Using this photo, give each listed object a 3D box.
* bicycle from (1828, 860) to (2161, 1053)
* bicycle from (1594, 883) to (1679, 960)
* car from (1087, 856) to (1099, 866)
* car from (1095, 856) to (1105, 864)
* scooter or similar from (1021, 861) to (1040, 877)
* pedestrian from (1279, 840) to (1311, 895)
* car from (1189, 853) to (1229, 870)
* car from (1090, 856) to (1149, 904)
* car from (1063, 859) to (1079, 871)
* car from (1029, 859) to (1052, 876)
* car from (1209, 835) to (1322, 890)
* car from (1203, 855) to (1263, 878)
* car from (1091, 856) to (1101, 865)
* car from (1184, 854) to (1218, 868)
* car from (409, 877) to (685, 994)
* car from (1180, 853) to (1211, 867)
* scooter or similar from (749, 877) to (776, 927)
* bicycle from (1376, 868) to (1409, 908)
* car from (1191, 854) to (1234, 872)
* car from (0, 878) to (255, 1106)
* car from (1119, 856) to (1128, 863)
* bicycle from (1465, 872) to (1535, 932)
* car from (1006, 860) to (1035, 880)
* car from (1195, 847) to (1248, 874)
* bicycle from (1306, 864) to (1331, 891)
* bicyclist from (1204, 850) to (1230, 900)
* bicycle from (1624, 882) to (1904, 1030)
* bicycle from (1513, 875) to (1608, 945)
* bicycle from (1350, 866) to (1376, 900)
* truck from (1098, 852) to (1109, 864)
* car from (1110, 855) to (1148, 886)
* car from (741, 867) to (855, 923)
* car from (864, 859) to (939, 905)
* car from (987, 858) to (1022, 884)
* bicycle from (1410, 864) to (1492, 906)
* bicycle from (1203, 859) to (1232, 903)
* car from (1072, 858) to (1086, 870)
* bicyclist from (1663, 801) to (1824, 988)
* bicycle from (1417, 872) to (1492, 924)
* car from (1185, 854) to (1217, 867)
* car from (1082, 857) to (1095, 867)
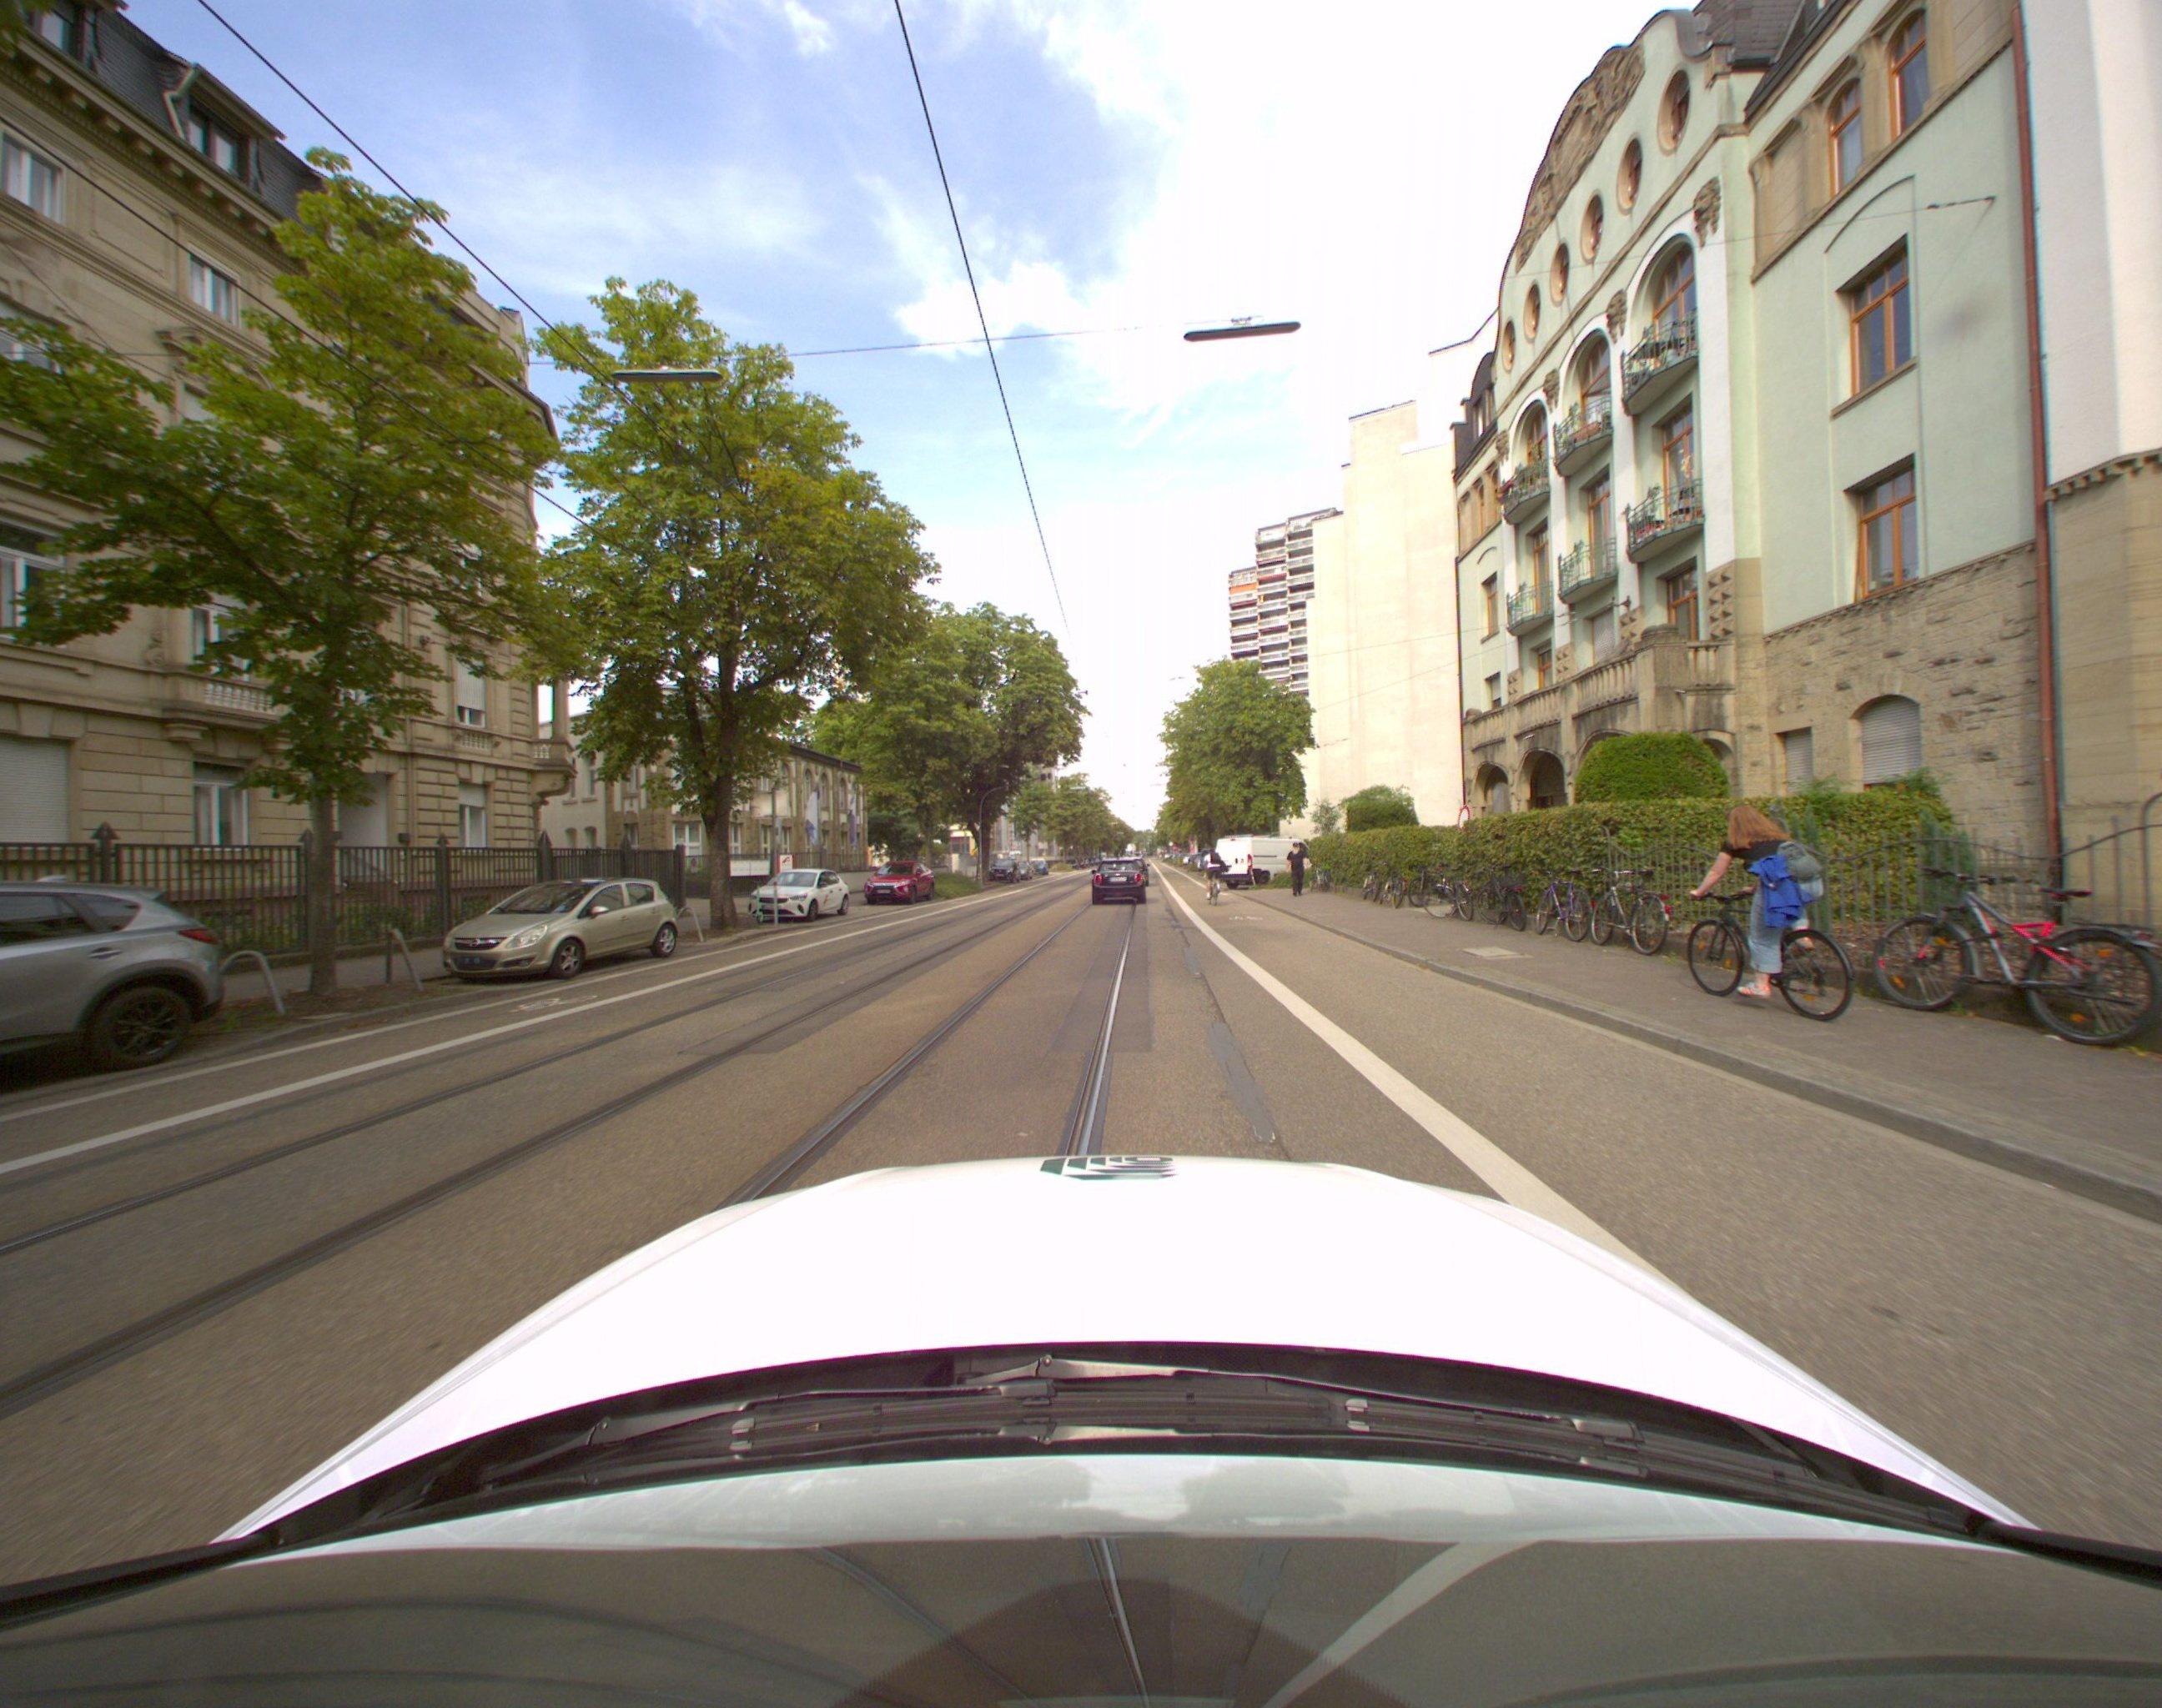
[{"bbox_3d":[6.469,0.631,5.920,0.390,1.142,1.923,-3,0,5],"label":"bicycle"},{"bbox_3d":[6.876,0.809,10.123,0.276,0.852,1.199,-3,-1,5],"label":"bicycle"},{"bbox_3d":[2.192,1.286,147.655,1.794,1.583,4.035,-3,0,4],"label":"car"},{"bbox_3d":[3.905,1.273,168.148,1.794,1.583,4.035,-3,0,4],"label":"car"},{"bbox_3d":[-4.343,1.292,69.578,1.436,1.344,0.701,-3,0,6],"label":"scooter or similar"},{"bbox_3d":[7.057,0.438,26.889,0.782,1.733,0.897,-4,0,4],"label":"pedestrian"},{"bbox_3d":[12.097,0.716,76.970,3.759,1.522,1.621,-1,-1,-41],"label":"car"},{"bbox_3d":[1.251,0.804,26.723,1.786,1.423,4.002,-1,0,2],"label":"car"},{"bbox_3d":[-1.285,1.451,107.459,1.794,1.374,4.035,-3,0,4],"label":"car"},{"bbox_3d":[-3.657,1.173,73.727,1.686,1.487,3.681,-1,0,4],"label":"car"},{"bbox_3d":[8.368,0.363,36.764,4.983,2.290,2.357,-1,-1,-39],"label":"car"},{"bbox_3d":[10.140,0.789,54.171,3.995,1.432,1.670,-1,-1,-38],"label":"car"},{"bbox_3d":[2.887,1.284,156.771,1.794,1.583,4.035,-3,0,4],"label":"car"},{"bbox_3d":[13.301,0.732,90.427,3.550,1.442,1.606,-1,0,-35],"label":"car"},{"bbox_3d":[-8.389,1.189,13.312,1.593,1.468,4.084,-1,0,4],"label":"car"},{"bbox_3d":[13.563,0.694,96.565,3.461,1.573,1.543,-1,0,-35],"label":"car"},{"bbox_3d":[-8.206,1.215,21.024,0.562,1.223,1.315,-1,0,-19],"label":"scooter or similar"},{"bbox_3d":[7.642,0.814,20.047,0.383,0.907,1.669,-3,-1,9],"label":"bicycle"},{"bbox_3d":[11.321,0.758,70.057,3.850,1.460,1.620,-1,-1,-43],"label":"car"},{"bbox_3d":[-9.093,1.097,5.827,1.703,1.673,4.362,-1,0,4],"label":"car"},{"bbox_3d":[9.719,1.229,185.196,1.826,1.448,4.558,-1,0,4],"label":"car"},{"bbox_3d":[7.026,0.777,13.723,0.483,0.907,1.668,-3,-1,7],"label":"bicycle"},{"bbox_3d":[-4.579,1.217,61.977,1.685,1.427,3.872,-1,0,4],"label":"car"},{"bbox_3d":[11.040,0.485,63.864,4.298,2.015,1.810,-1,-1,-41],"label":"car"},{"bbox_3d":[8.247,0.803,28.293,0.384,0.907,1.843,-3,-1,3],"label":"bicycle"},{"bbox_3d":[4.155,0.625,24.903,0.654,1.463,1.179,-1,0,3],"label":"bicyclist"},{"bbox_3d":[5.679,0.782,6.979,0.686,0.962,2.037,-4,0,2],"label":"bicycle"},{"bbox_3d":[6.982,0.781,11.935,0.483,0.907,1.667,-3,-1,5],"label":"bicycle"},{"bbox_3d":[7.956,0.810,23.026,0.383,0.907,1.669,-3,-1,9],"label":"bicycle"},{"bbox_3d":[4.957,0.840,181.223,2.062,2.470,4.904,-3,-1,4],"label":"truck"},{"bbox_3d":[2.385,0.814,41.213,1.787,1.470,4.001,0,0,1],"label":"car"},{"bbox_3d":[-8.145,1.135,23.831,1.714,1.424,4.027,1,0,3],"label":"car"},{"bbox_3d":[-7.077,1.065,32.506,1.714,1.655,4.546,1,0,3],"label":"car"},{"bbox_3d":[-5.127,1.114,55.093,1.748,1.647,4.056,-1,0,4],"label":"car"},{"bbox_3d":[8.679,0.715,19.143,1.653,0.907,0.487,-3,-1,2],"label":"bicycle"},{"bbox_3d":[4.169,0.803,25.023,0.654,1.249,2.126,-1,0,3],"label":"bicycle"},{"bbox_3d":[-0.268,1.409,118.047,1.794,1.583,4.035,-3,0,4],"label":"car"},{"bbox_3d":[5.652,0.328,6.997,0.645,1.470,0.801,-4,0,2],"label":"bicyclist"},{"bbox_3d":[7.136,0.822,15.634,0.485,0.907,1.661,-2,-1,-7],"label":"bicycle"},{"bbox_3d":[13.786,0.722,93.530,3.461,1.442,1.543,-1,0,-35],"label":"car"},{"bbox_3d":[1.265,1.418,137.617,1.794,1.583,4.035,-3,0,4],"label":"car"}]
